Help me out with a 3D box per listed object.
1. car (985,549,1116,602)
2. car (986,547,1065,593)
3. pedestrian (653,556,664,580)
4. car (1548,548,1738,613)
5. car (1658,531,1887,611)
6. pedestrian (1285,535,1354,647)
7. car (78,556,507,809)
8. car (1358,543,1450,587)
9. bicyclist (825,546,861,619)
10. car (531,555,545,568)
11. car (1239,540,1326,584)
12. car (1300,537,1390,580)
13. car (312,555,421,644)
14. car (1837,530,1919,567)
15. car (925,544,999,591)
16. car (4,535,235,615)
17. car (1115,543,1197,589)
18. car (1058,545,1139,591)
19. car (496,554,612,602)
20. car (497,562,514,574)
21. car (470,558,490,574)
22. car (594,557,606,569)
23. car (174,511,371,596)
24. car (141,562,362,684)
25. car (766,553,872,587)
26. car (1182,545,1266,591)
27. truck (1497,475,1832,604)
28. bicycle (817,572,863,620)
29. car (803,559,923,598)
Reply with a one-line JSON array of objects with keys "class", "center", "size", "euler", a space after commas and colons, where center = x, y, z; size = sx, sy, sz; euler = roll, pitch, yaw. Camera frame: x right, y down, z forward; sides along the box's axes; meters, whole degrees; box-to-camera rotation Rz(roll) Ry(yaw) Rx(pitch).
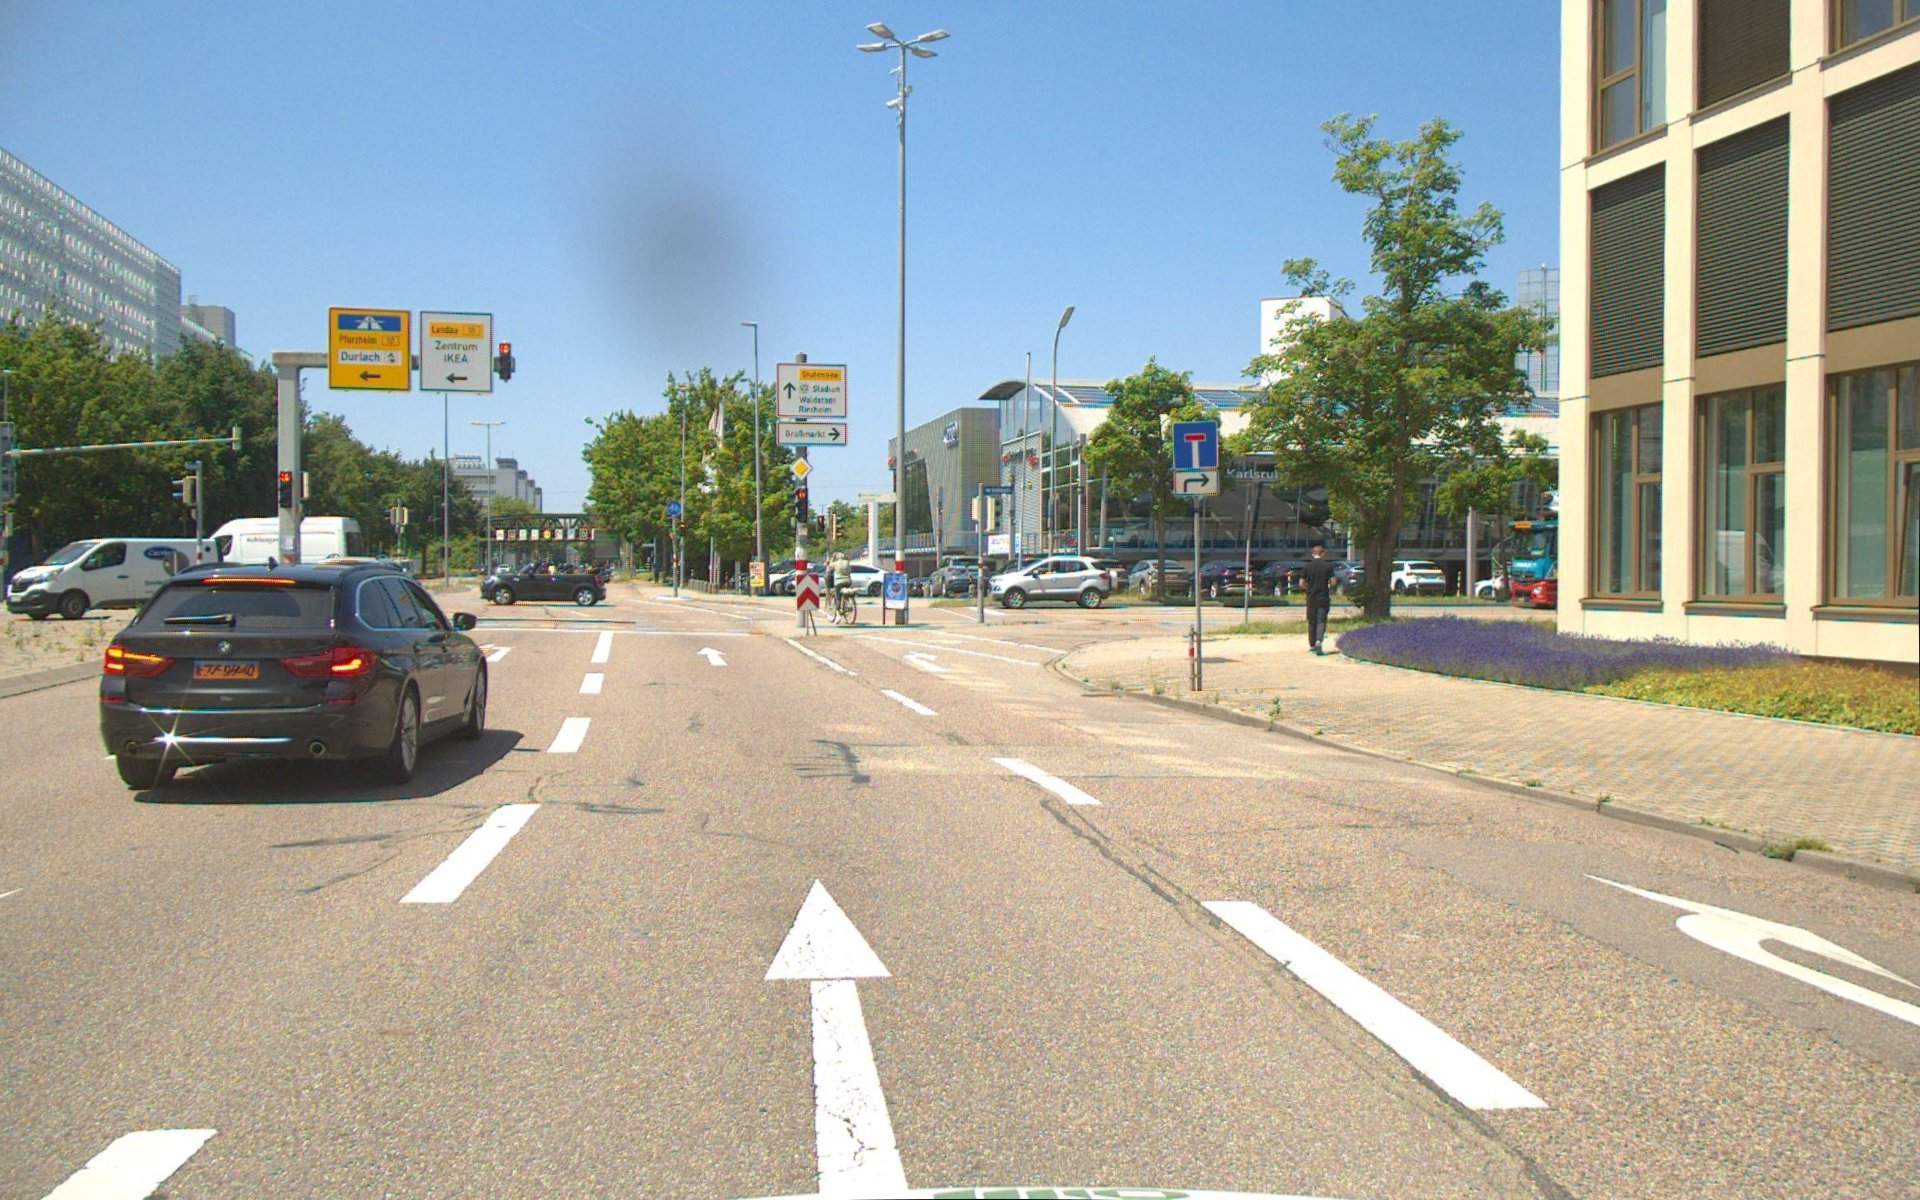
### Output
[{"class": "car", "center": [2.909, -0.793, 53.531], "size": [4.111, 1.680, 1.715], "euler": [0, 2, -2]}, {"class": "car", "center": [2.497, -1.199, 64.200], "size": [1.959, 1.668, 4.544], "euler": [-1, 2, -12]}, {"class": "pedestrian", "center": [-19.960, -2.107, 109.492], "size": [0.656, 1.536, 0.734], "euler": [-1, 2, -13]}, {"class": "car", "center": [16.261, -0.465, 39.439], "size": [3.922, 1.460, 1.604], "euler": [0, 2, 37]}, {"class": "car", "center": [19.721, -0.690, 40.265], "size": [4.807, 1.847, 1.699], "euler": [0, 2, 36]}, {"class": "pedestrian", "center": [6.205, -0.158, 28.573], "size": [0.860, 1.876, 0.762], "euler": [-3, 2, -40]}, {"class": "car", "center": [-4.690, 0.441, 12.402], "size": [1.765, 1.491, 4.618], "euler": [0, 2, -6]}, {"class": "car", "center": [18.087, -1.469, 67.577], "size": [1.796, 1.668, 4.461], "euler": [-1, 2, -12]}, {"class": "bicyclist", "center": [-2.902, -0.444, 41.072], "size": [0.722, 1.779, 0.750], "euler": [0, 2, -17]}, {"class": "car", "center": [-58.115, -5.345, 227.923], "size": [1.741, 1.758, 3.988], "euler": [-1, 1, -12]}, {"class": "car", "center": [12.886, -1.566, 66.377], "size": [1.796, 1.668, 4.460], "euler": [-1, 2, -13]}, {"class": "car", "center": [15.545, -1.719, 67.022], "size": [1.796, 1.668, 4.461], "euler": [-1, 2, -12]}, {"class": "car", "center": [-10.988, -0.059, 30.809], "size": [1.770, 1.520, 3.980], "euler": [0, 2, -18]}, {"class": "car", "center": [46.236, -2.587, 83.038], "size": [1.703, 1.817, 3.988], "euler": [-1, 2, -12]}, {"class": "car", "center": [0.038, -1.270, 63.224], "size": [1.959, 1.668, 4.256], "euler": [-1, 2, -12]}, {"class": "car", "center": [-20.811, -0.660, 41.143], "size": [1.802, 1.882, 4.818], "euler": [1, 2, 38]}, {"class": "car", "center": [7.667, -1.370, 65.197], "size": [1.852, 1.668, 4.511], "euler": [-1, 2, -12]}, {"class": "car", "center": [5.372, -1.275, 64.736], "size": [1.959, 1.668, 4.428], "euler": [-1, 2, -12]}, {"class": "car", "center": [-12.474, -0.680, 51.006], "size": [3.305, 1.381, 1.621], "euler": [1, 1, -9]}, {"class": "car", "center": [-64.746, -4.580, 235.595], "size": [1.891, 1.694, 4.080], "euler": [-1, 1, -10]}, {"class": "car", "center": [-61.727, -4.364, 212.902], "size": [1.956, 2.049, 3.992], "euler": [-1, 0, -9]}, {"class": "car", "center": [-53.765, -5.584, 247.211], "size": [1.741, 1.758, 3.988], "euler": [-1, 1, -12]}, {"class": "car", "center": [-21.757, -1.475, 52.493], "size": [5.379, 2.611, 2.000], "euler": [0, 1, -2]}, {"class": "car", "center": [-9.320, 0.225, 22.130], "size": [1.716, 1.414, 4.522], "euler": [-1, 2, -10]}, {"class": "car", "center": [-6.583, -1.416, 77.132], "size": [4.661, 1.482, 1.993], "euler": [-1, 2, -14]}, {"class": "car", "center": [10.452, -1.303, 65.712], "size": [1.796, 1.668, 4.461], "euler": [-1, 2, -12]}, {"class": "truck", "center": [23.688, -2.011, 55.760], "size": [10.423, 4.153, 3.094], "euler": [0, 1, -10]}, {"class": "bicycle", "center": [-3.006, -0.113, 41.291], "size": [0.774, 1.147, 1.913], "euler": [0, 2, -16]}, {"class": "car", "center": [-3.955, -0.880, 66.904], "size": [4.656, 1.482, 1.995], "euler": [-1, 2, -11]}]
